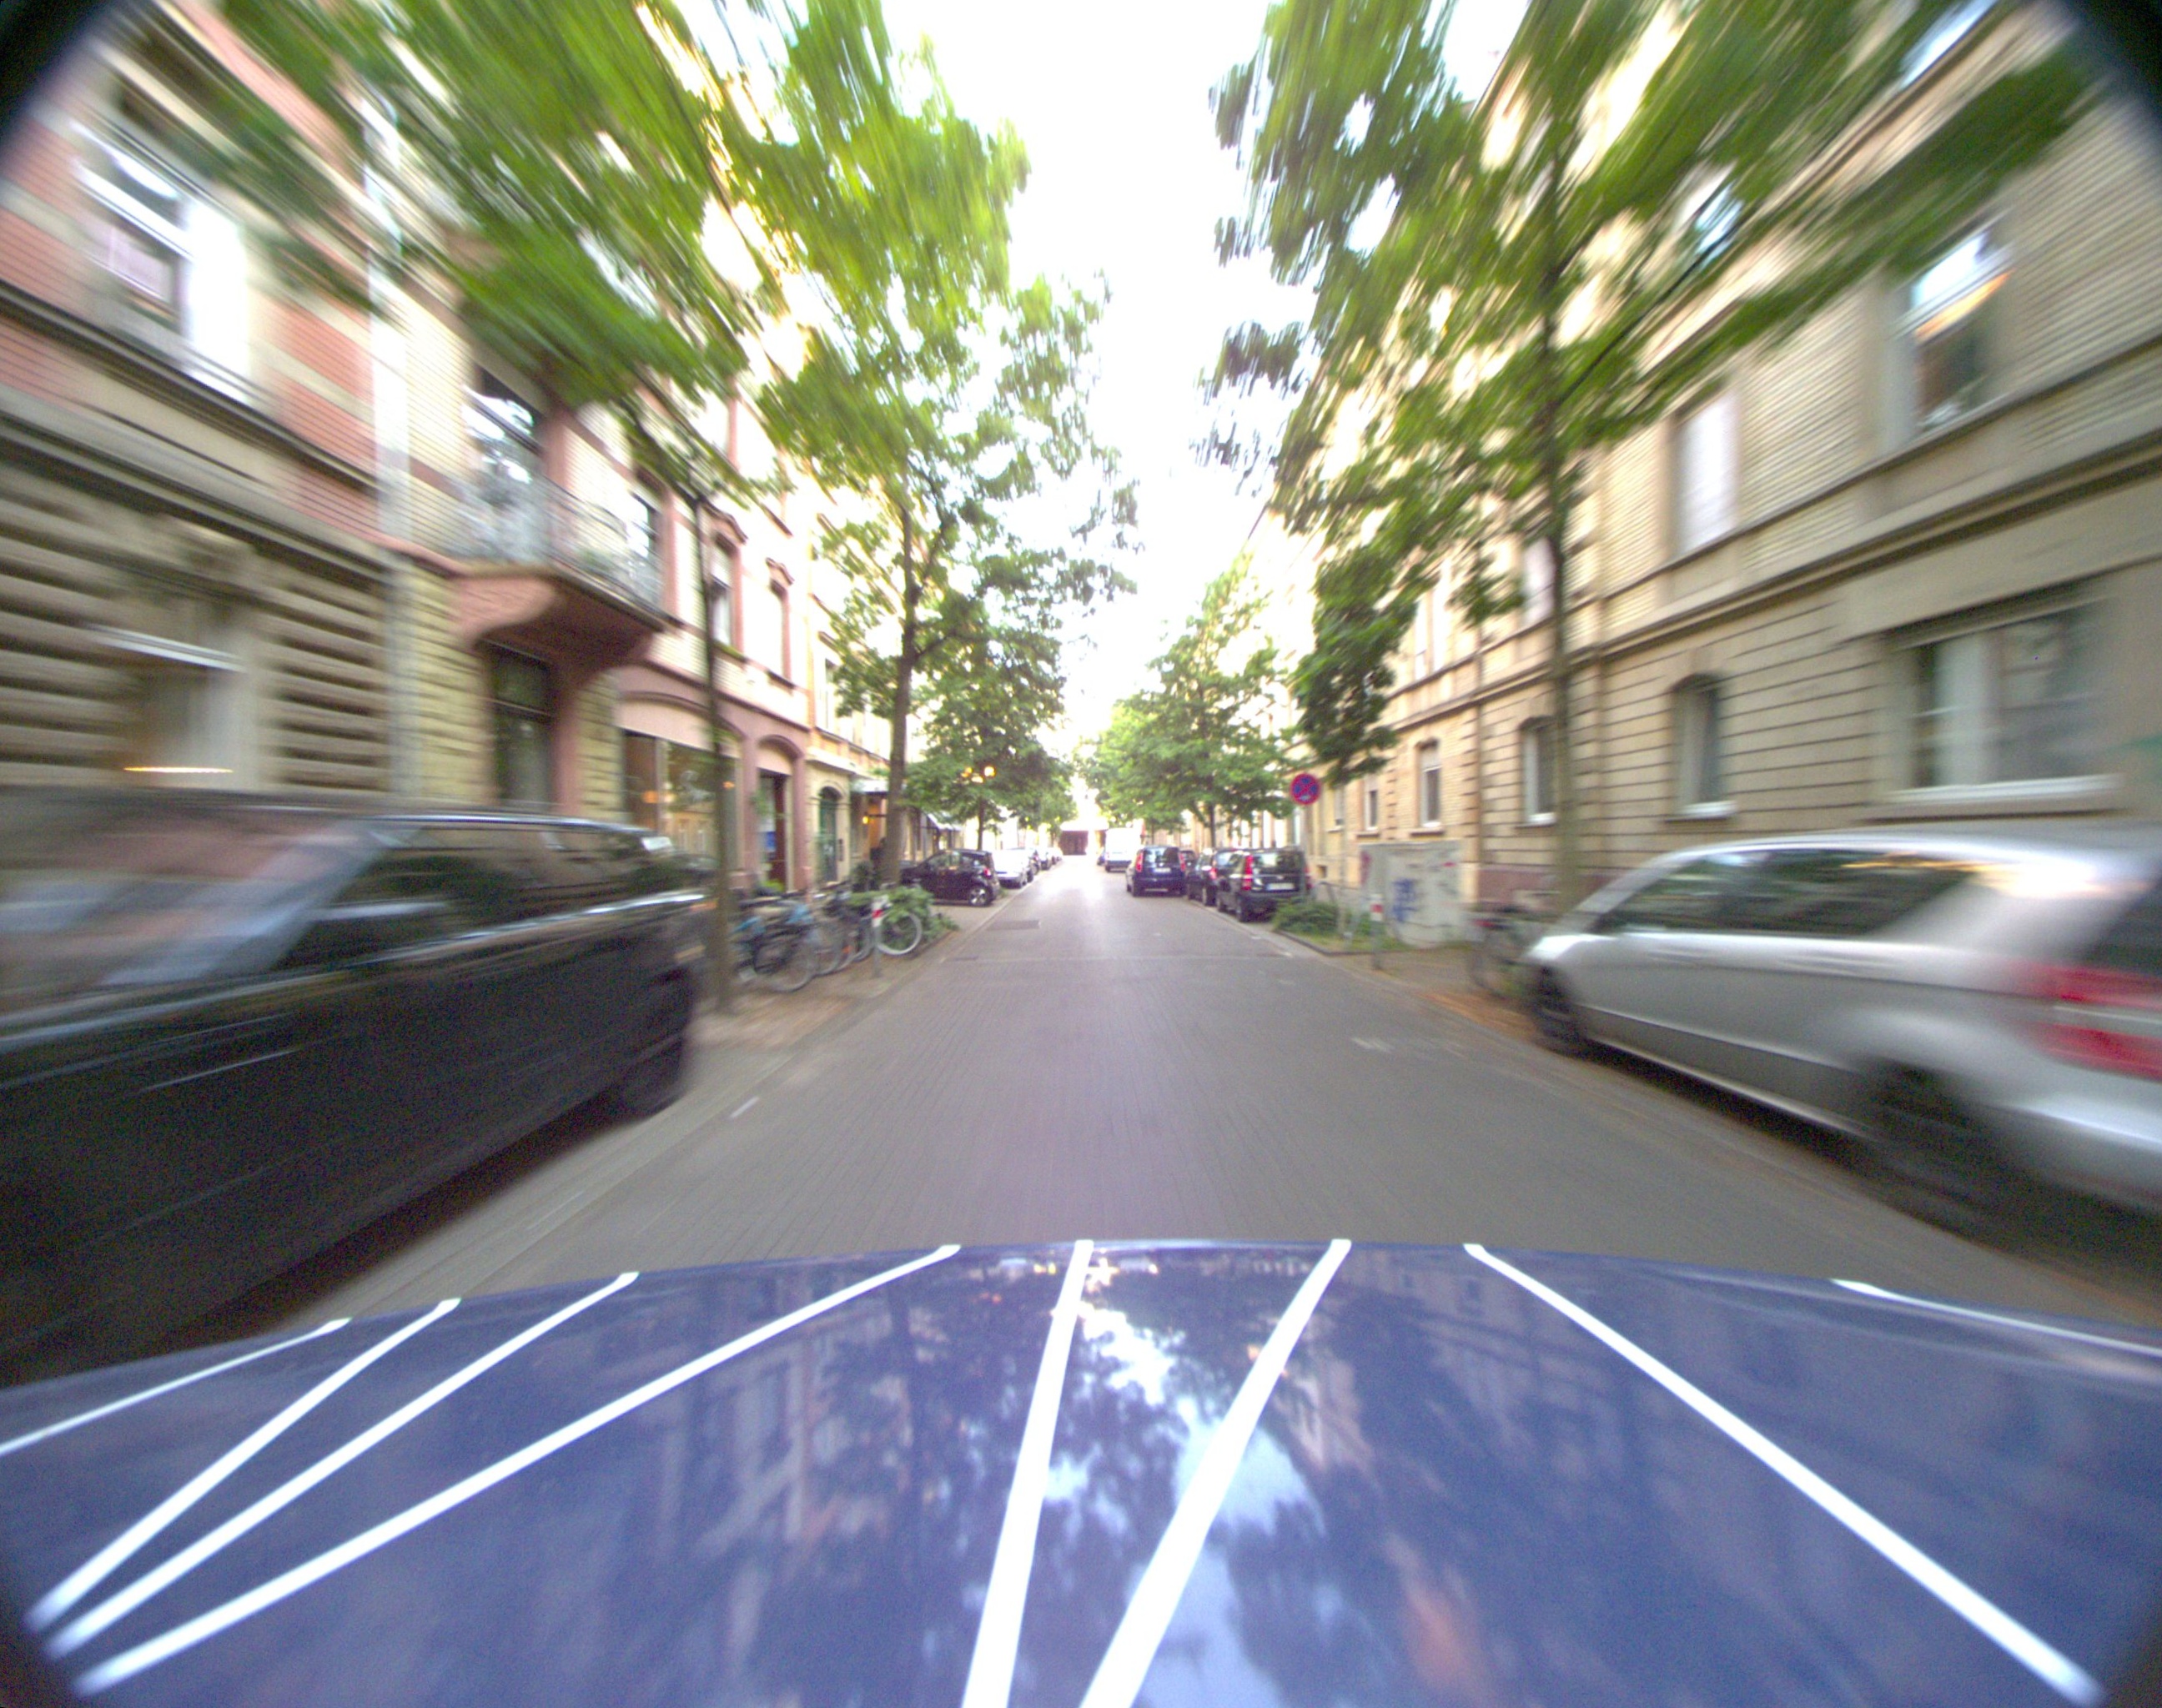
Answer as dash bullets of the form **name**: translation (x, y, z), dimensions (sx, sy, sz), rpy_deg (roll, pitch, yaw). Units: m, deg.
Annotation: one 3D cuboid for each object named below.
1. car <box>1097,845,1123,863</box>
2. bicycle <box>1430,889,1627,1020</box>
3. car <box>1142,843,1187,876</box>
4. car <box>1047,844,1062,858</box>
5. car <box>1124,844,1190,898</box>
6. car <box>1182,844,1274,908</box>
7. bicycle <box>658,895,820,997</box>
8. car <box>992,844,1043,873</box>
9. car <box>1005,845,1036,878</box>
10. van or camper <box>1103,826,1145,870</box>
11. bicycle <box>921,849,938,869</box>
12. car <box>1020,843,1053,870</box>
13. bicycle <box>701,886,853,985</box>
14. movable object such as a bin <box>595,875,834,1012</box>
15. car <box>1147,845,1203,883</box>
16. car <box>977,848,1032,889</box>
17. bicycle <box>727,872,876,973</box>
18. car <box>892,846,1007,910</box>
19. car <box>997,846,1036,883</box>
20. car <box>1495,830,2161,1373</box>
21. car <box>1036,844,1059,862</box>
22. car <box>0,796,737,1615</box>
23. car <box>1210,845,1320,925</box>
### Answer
- **car**: translation (2.318, -0.034, 61.620), dimensions (1.665, 1.448, 4.281), rpy_deg (-1, 1, -4)
- **bicycle**: translation (4.481, 0.954, 7.596), dimensions (1.871, 1.054, 0.595), rpy_deg (-3, 2, -19)
- **car**: translation (4.036, 0.233, 37.355), dimensions (1.688, 1.501, 4.112), rpy_deg (-2, 1, 0)
- **car**: translation (-2.966, -0.347, 84.462), dimensions (1.657, 1.501, 3.868), rpy_deg (-2, 1, -2)
- **car**: translation (2.423, 0.484, 25.040), dimensions (1.728, 1.564, 4.218), rpy_deg (-1, 1, 0)
- **car**: translation (3.913, 0.516, 20.817), dimensions (1.695, 1.493, 3.710), rpy_deg (-3, 1, -1)
- **bicycle**: translation (-4.081, 1.091, 9.133), dimensions (1.662, 1.137, 0.582), rpy_deg (-1, 1, 3)
- **car**: translation (-3.495, 0.231, 42.281), dimensions (2.721, 1.564, 1.525), rpy_deg (1, 1, 0)
- **car**: translation (-3.026, 0.356, 38.116), dimensions (1.468, 1.543, 2.916), rpy_deg (0, 1, -3)
- **van or camper**: translation (2.506, -0.391, 45.673), dimensions (2.225, 2.417, 5.659), rpy_deg (-1, 1, 0)
- **bicycle**: translation (-6.545, 0.210, 32.922), dimensions (0.447, 0.855, 1.547), rpy_deg (-1, 1, -1)
- **car**: translation (-2.931, 0.131, 50.792), dimensions (1.944, 1.621, 4.453), rpy_deg (-2, 1, 0)
- **bicycle**: translation (-3.879, 1.029, 9.757), dimensions (1.700, 1.191, 0.582), rpy_deg (-1, 1, 3)
- **movable object such as a bin**: translation (-3.935, 0.937, 8.259), dimensions (2.221, 1.298, 0.771), rpy_deg (2, 1, 2)
- **car**: translation (3.964, 0.385, 32.609), dimensions (1.771, 1.454, 4.257), rpy_deg (-1, 1, -1)
- **car**: translation (-2.987, 0.536, 30.357), dimensions (1.738, 1.482, 4.103), rpy_deg (-1, 1, 0)
- **bicycle**: translation (-3.846, 0.930, 10.572), dimensions (1.766, 1.286, 0.801), rpy_deg (1, 1, -1)
- **car**: translation (-3.551, 0.623, 20.966), dimensions (2.804, 1.590, 1.800), rpy_deg (2, 1, 0)
- **car**: translation (-2.908, 0.432, 34.730), dimensions (1.595, 1.551, 3.121), rpy_deg (-1, 1, -2)
- **car**: translation (4.136, 0.710, 4.182), dimensions (1.680, 1.598, 3.861), rpy_deg (-2, 1, 2)
- **car**: translation (-2.940, -0.115, 67.701), dimensions (1.835, 1.530, 4.123), rpy_deg (-1, 1, 0)
- **car**: translation (-3.400, 0.746, 2.858), dimensions (2.019, 1.823, 4.809), rpy_deg (1, 1, 0)
- **car**: translation (3.955, 0.597, 16.877), dimensions (1.523, 1.493, 3.560), rpy_deg (-3, 1, 0)
